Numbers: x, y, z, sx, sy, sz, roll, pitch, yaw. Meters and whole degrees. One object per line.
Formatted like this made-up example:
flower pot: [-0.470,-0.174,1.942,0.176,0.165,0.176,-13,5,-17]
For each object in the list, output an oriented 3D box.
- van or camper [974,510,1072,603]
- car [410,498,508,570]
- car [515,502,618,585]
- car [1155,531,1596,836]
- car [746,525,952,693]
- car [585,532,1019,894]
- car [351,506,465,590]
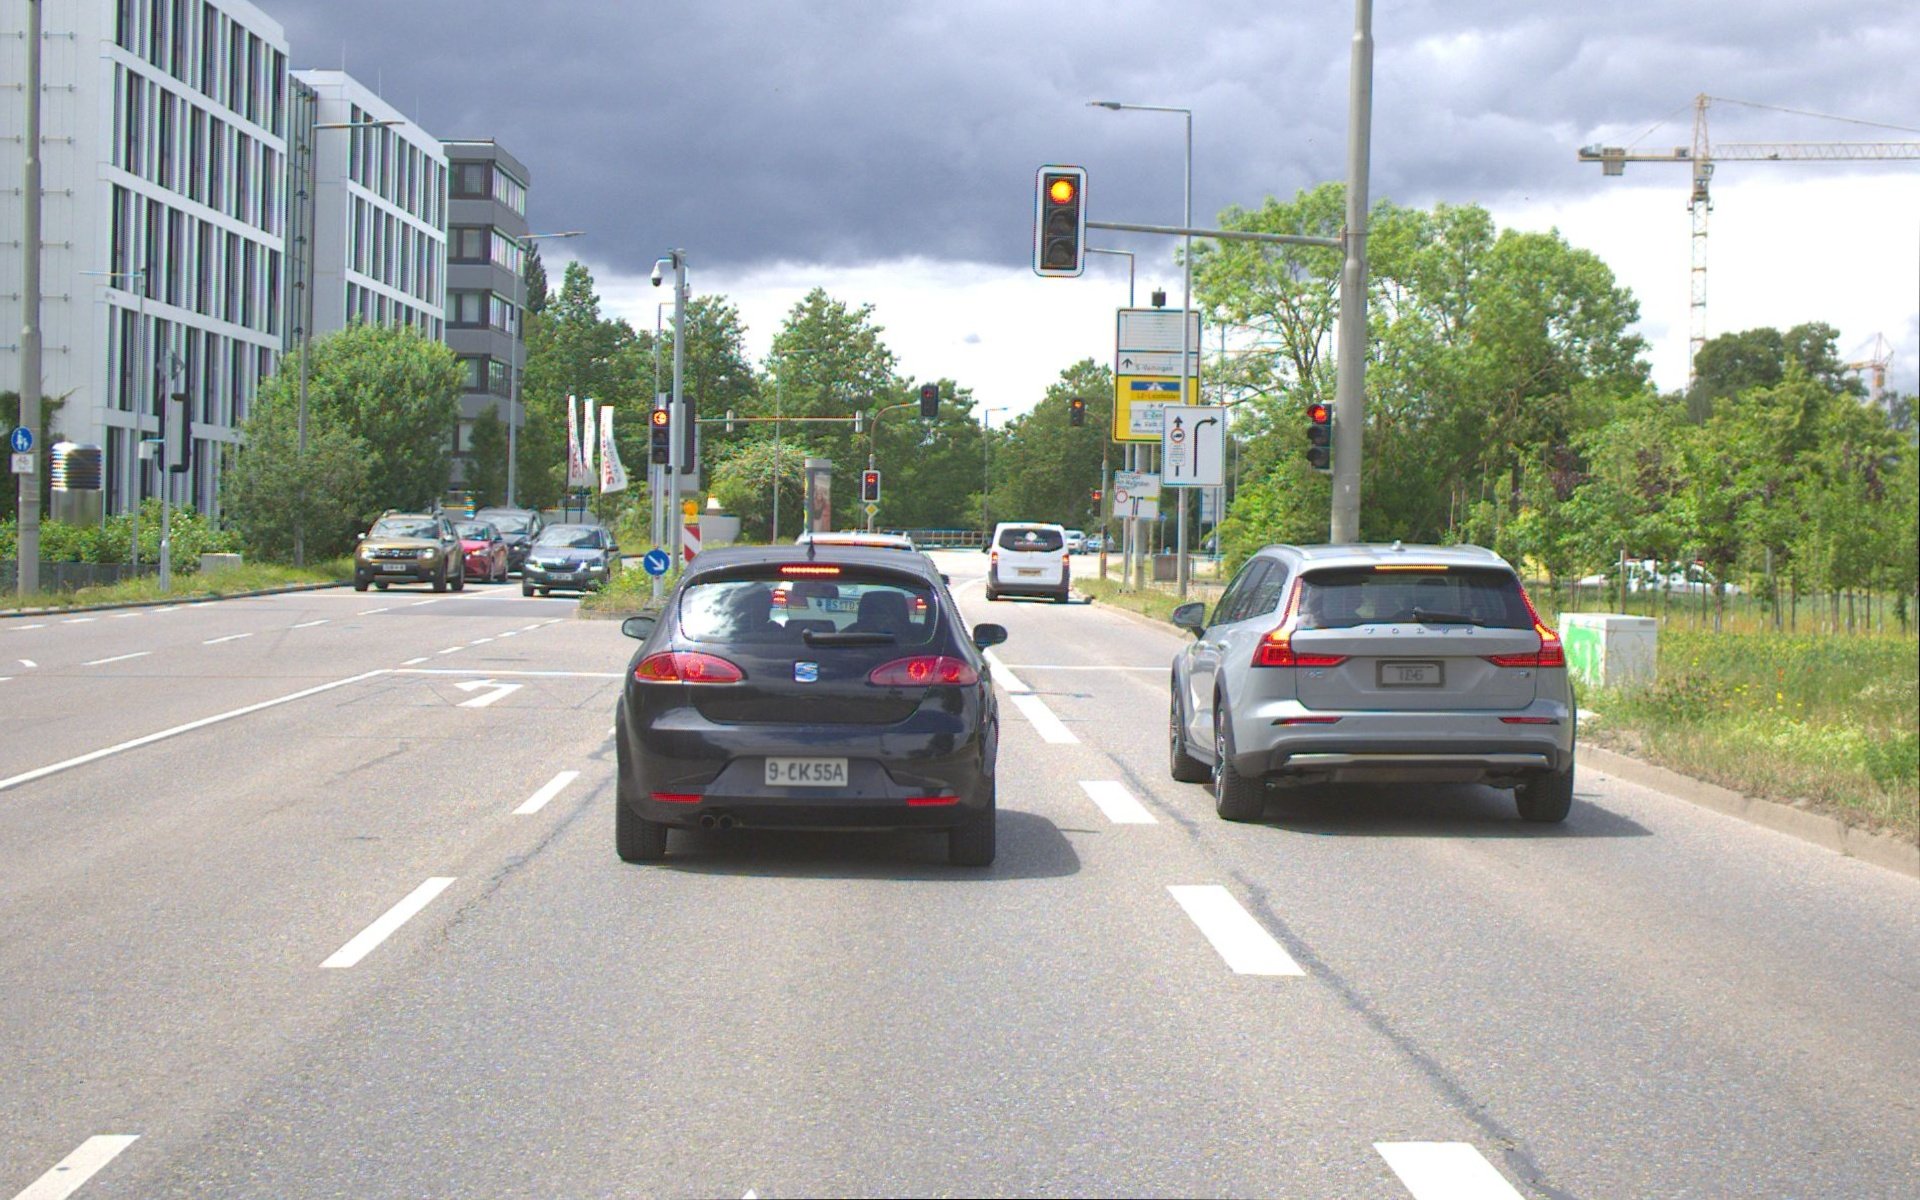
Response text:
van or camper: [1.465,-0.993,81.266,1.899,1.919,4.000,1,-3,-4]
car: [-11.586,-1.510,79.703,1.776,1.606,4.000,1,1,-2]
car: [-7.823,-1.149,68.616,1.668,1.519,4.009,-1,2,-2]
car: [2.210,0.397,19.438,1.958,1.520,4.340,0,1,0]
car: [-1.177,0.040,35.969,1.983,1.584,4.226,2,1,-2]
car: [-0.648,0.464,16.779,1.748,1.478,4.000,2,1,2]
car: [-11.135,-1.056,69.620,1.751,1.625,4.000,-1,1,-2]
